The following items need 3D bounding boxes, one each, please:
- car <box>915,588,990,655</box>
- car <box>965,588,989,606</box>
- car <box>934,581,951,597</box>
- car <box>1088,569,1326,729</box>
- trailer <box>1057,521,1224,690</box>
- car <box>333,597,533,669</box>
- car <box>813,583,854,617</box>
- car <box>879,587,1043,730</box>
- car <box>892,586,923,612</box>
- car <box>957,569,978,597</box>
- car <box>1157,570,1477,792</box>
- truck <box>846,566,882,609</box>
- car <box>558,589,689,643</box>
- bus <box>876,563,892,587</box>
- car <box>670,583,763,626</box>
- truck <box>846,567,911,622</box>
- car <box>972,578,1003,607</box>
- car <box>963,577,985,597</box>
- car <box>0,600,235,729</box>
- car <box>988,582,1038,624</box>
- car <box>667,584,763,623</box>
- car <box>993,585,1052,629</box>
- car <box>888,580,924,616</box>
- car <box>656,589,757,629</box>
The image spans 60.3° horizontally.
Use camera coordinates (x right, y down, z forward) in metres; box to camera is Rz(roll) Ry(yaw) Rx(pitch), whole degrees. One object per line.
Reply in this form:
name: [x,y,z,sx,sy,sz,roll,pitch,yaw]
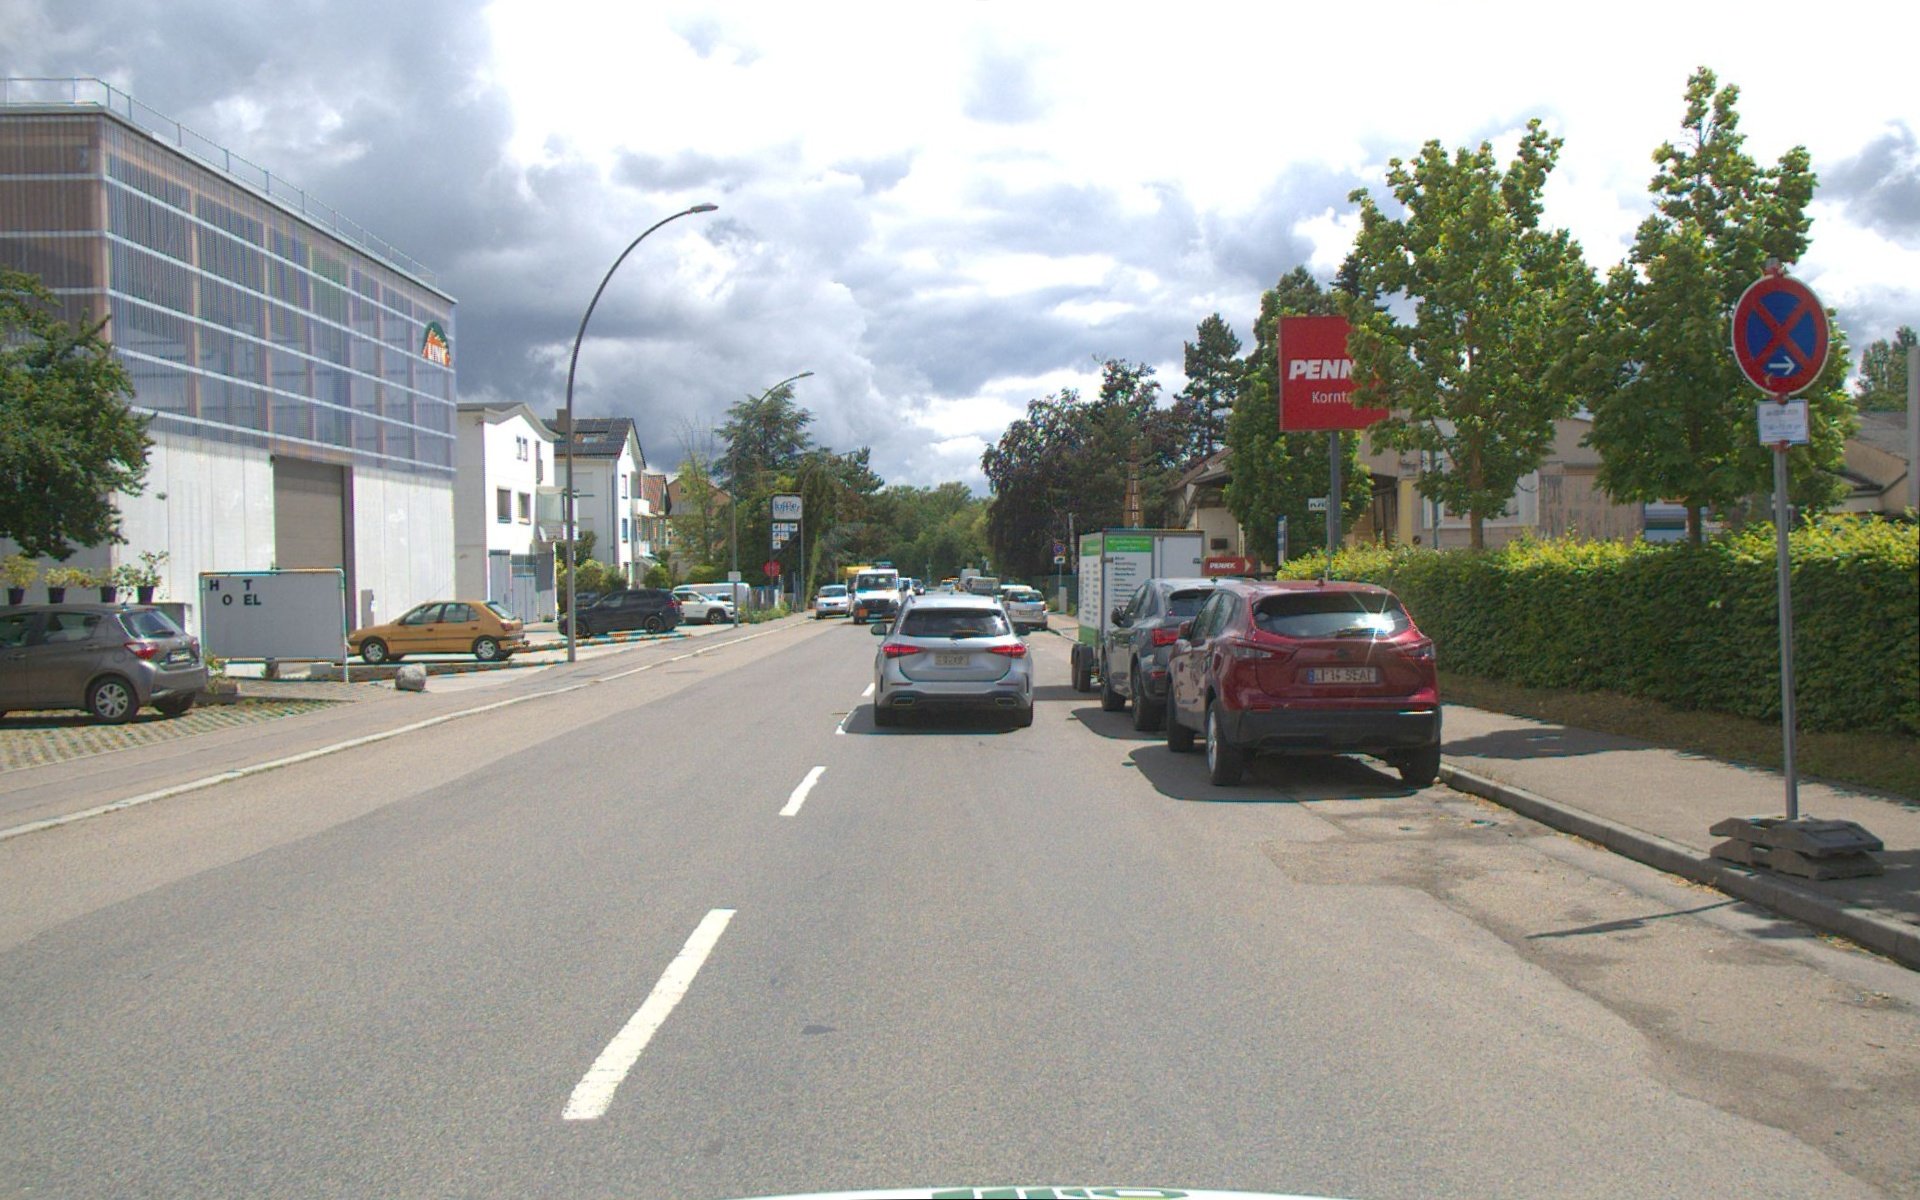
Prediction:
car: [-0.243,0.508,42.176,1.721,1.585,3.998,-1,1,-3]
car: [1.425,-0.250,140.262,1.749,1.510,4.314,0,0,-3]
car: [-1.802,-1.180,171.295,1.720,1.585,3.999,-1,1,-1]
car: [2.746,0.478,19.405,1.903,1.598,4.443,-2,1,-3]
trailer: [2.692,0.056,25.673,1.902,2.334,4.444,-2,0,-2]
car: [-12.156,0.756,38.380,4.068,1.518,1.824,1,1,-4]
car: [-6.448,-0.014,84.637,1.755,1.631,4.363,-2,1,-1]
car: [-0.079,0.615,19.680,1.749,1.510,4.314,0,0,-3]
car: [-3.769,-0.098,118.596,1.952,1.763,4.549,-2,1,1]
car: [0.693,-1.600,157.750,1.749,2.562,4.314,0,0,-3]
car: [2.906,0.568,14.476,1.901,1.598,4.447,-2,1,1]
truck: [-6.851,-0.940,118.358,2.032,2.863,7.078,-2,1,0]
car: [-12.819,0.576,63.173,4.536,1.661,2.196,-4,1,-4]
bus: [-11.283,-3.763,244.771,1.955,3.423,6.974,1,1,-6]
car: [-11.672,0.244,79.435,4.193,1.868,1.990,-1,-3,-2]
truck: [-3.459,-0.278,71.470,2.271,2.216,6.450,-2,1,1]
car: [1.983,-0.584,120.201,2.100,2.018,5.261,-1,1,0]
car: [1.201,-1.145,145.475,1.749,1.745,4.314,0,0,-3]
car: [-11.765,0.823,21.731,3.553,1.559,1.980,-1,1,1]
car: [2.116,0.101,67.090,1.755,1.579,4.572,-2,1,-1]
car: [-11.391,0.177,77.112,4.193,1.594,1.990,-1,-3,-2]
car: [2.272,0.241,61.363,1.756,1.475,4.361,-2,1,-3]
car: [-3.055,-0.150,94.640,1.953,1.921,5.116,-2,1,-1]
car: [-11.340,0.415,74.178,4.192,1.594,1.991,-1,-3,-1]
